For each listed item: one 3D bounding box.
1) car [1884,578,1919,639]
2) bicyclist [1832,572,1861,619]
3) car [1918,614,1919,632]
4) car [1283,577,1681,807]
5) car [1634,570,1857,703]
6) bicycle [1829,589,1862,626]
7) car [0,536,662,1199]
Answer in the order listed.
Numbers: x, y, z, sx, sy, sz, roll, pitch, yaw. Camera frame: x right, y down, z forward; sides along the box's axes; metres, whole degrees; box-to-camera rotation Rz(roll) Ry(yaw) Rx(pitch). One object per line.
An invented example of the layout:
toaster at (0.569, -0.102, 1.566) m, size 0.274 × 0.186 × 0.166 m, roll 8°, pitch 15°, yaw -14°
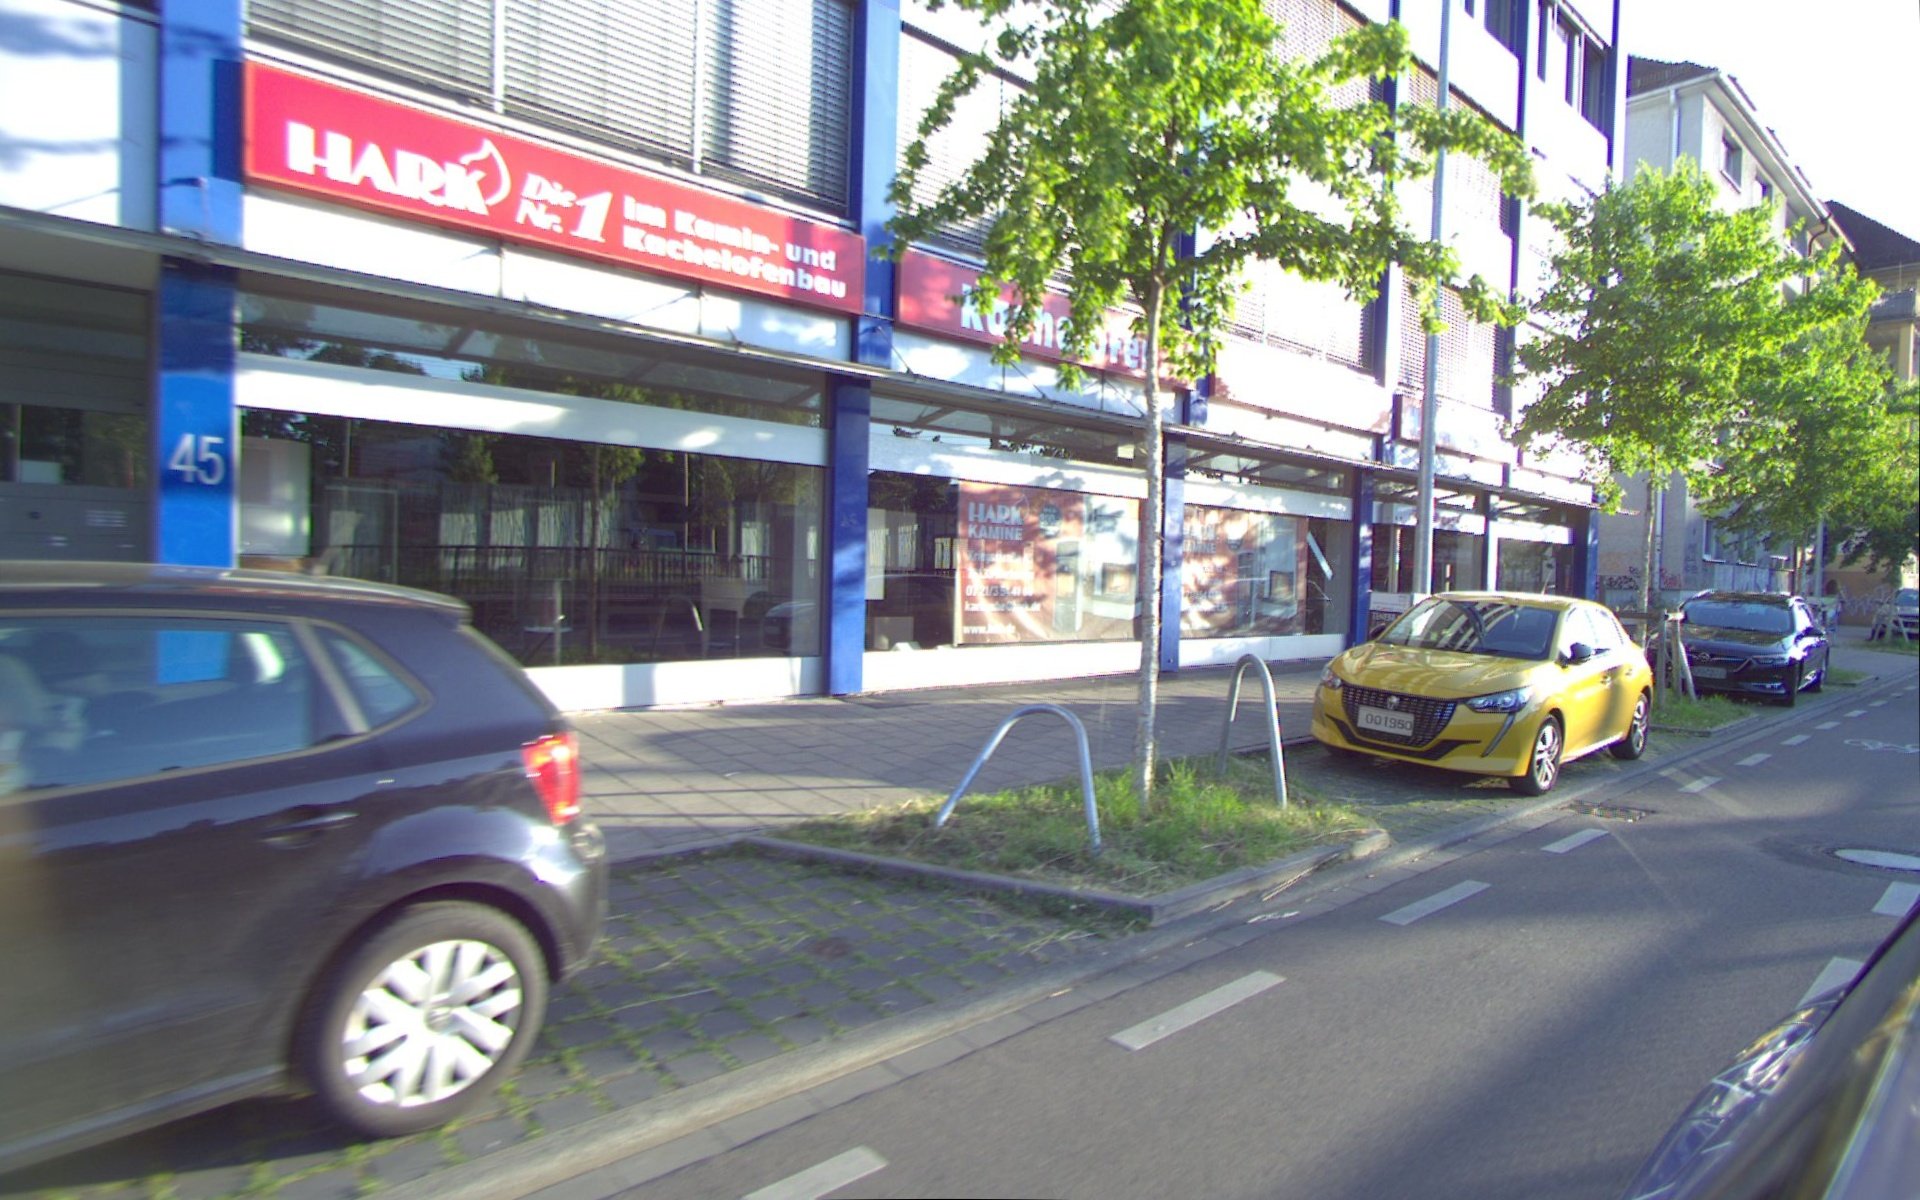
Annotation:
car at (28.844, 0.265, 29.845) m, size 4.449 × 1.674 × 1.761 m, roll 0°, pitch 4°, yaw -41°
bicyclist at (29.370, -0.157, 33.533) m, size 0.612 × 1.493 × 0.559 m, roll 0°, pitch 5°, yaw -43°
car at (32.958, 0.327, 33.360) m, size 3.541 × 1.535 × 1.673 m, roll 0°, pitch 6°, yaw -43°
car at (4.646, 0.590, 8.738) m, size 4.059 × 1.472 × 1.686 m, roll 0°, pitch 3°, yaw -42°
car at (11.962, 0.441, 15.284) m, size 4.729 × 1.585 × 1.823 m, roll 0°, pitch 6°, yaw -43°
bicycle at (29.398, 0.232, 33.596) m, size 1.941 × 1.143 × 0.555 m, roll -1°, pitch 5°, yaw -43°
car at (-2.985, 0.578, 2.278) m, size 4.059 × 1.472 × 1.822 m, roll 0°, pitch 3°, yaw -43°
